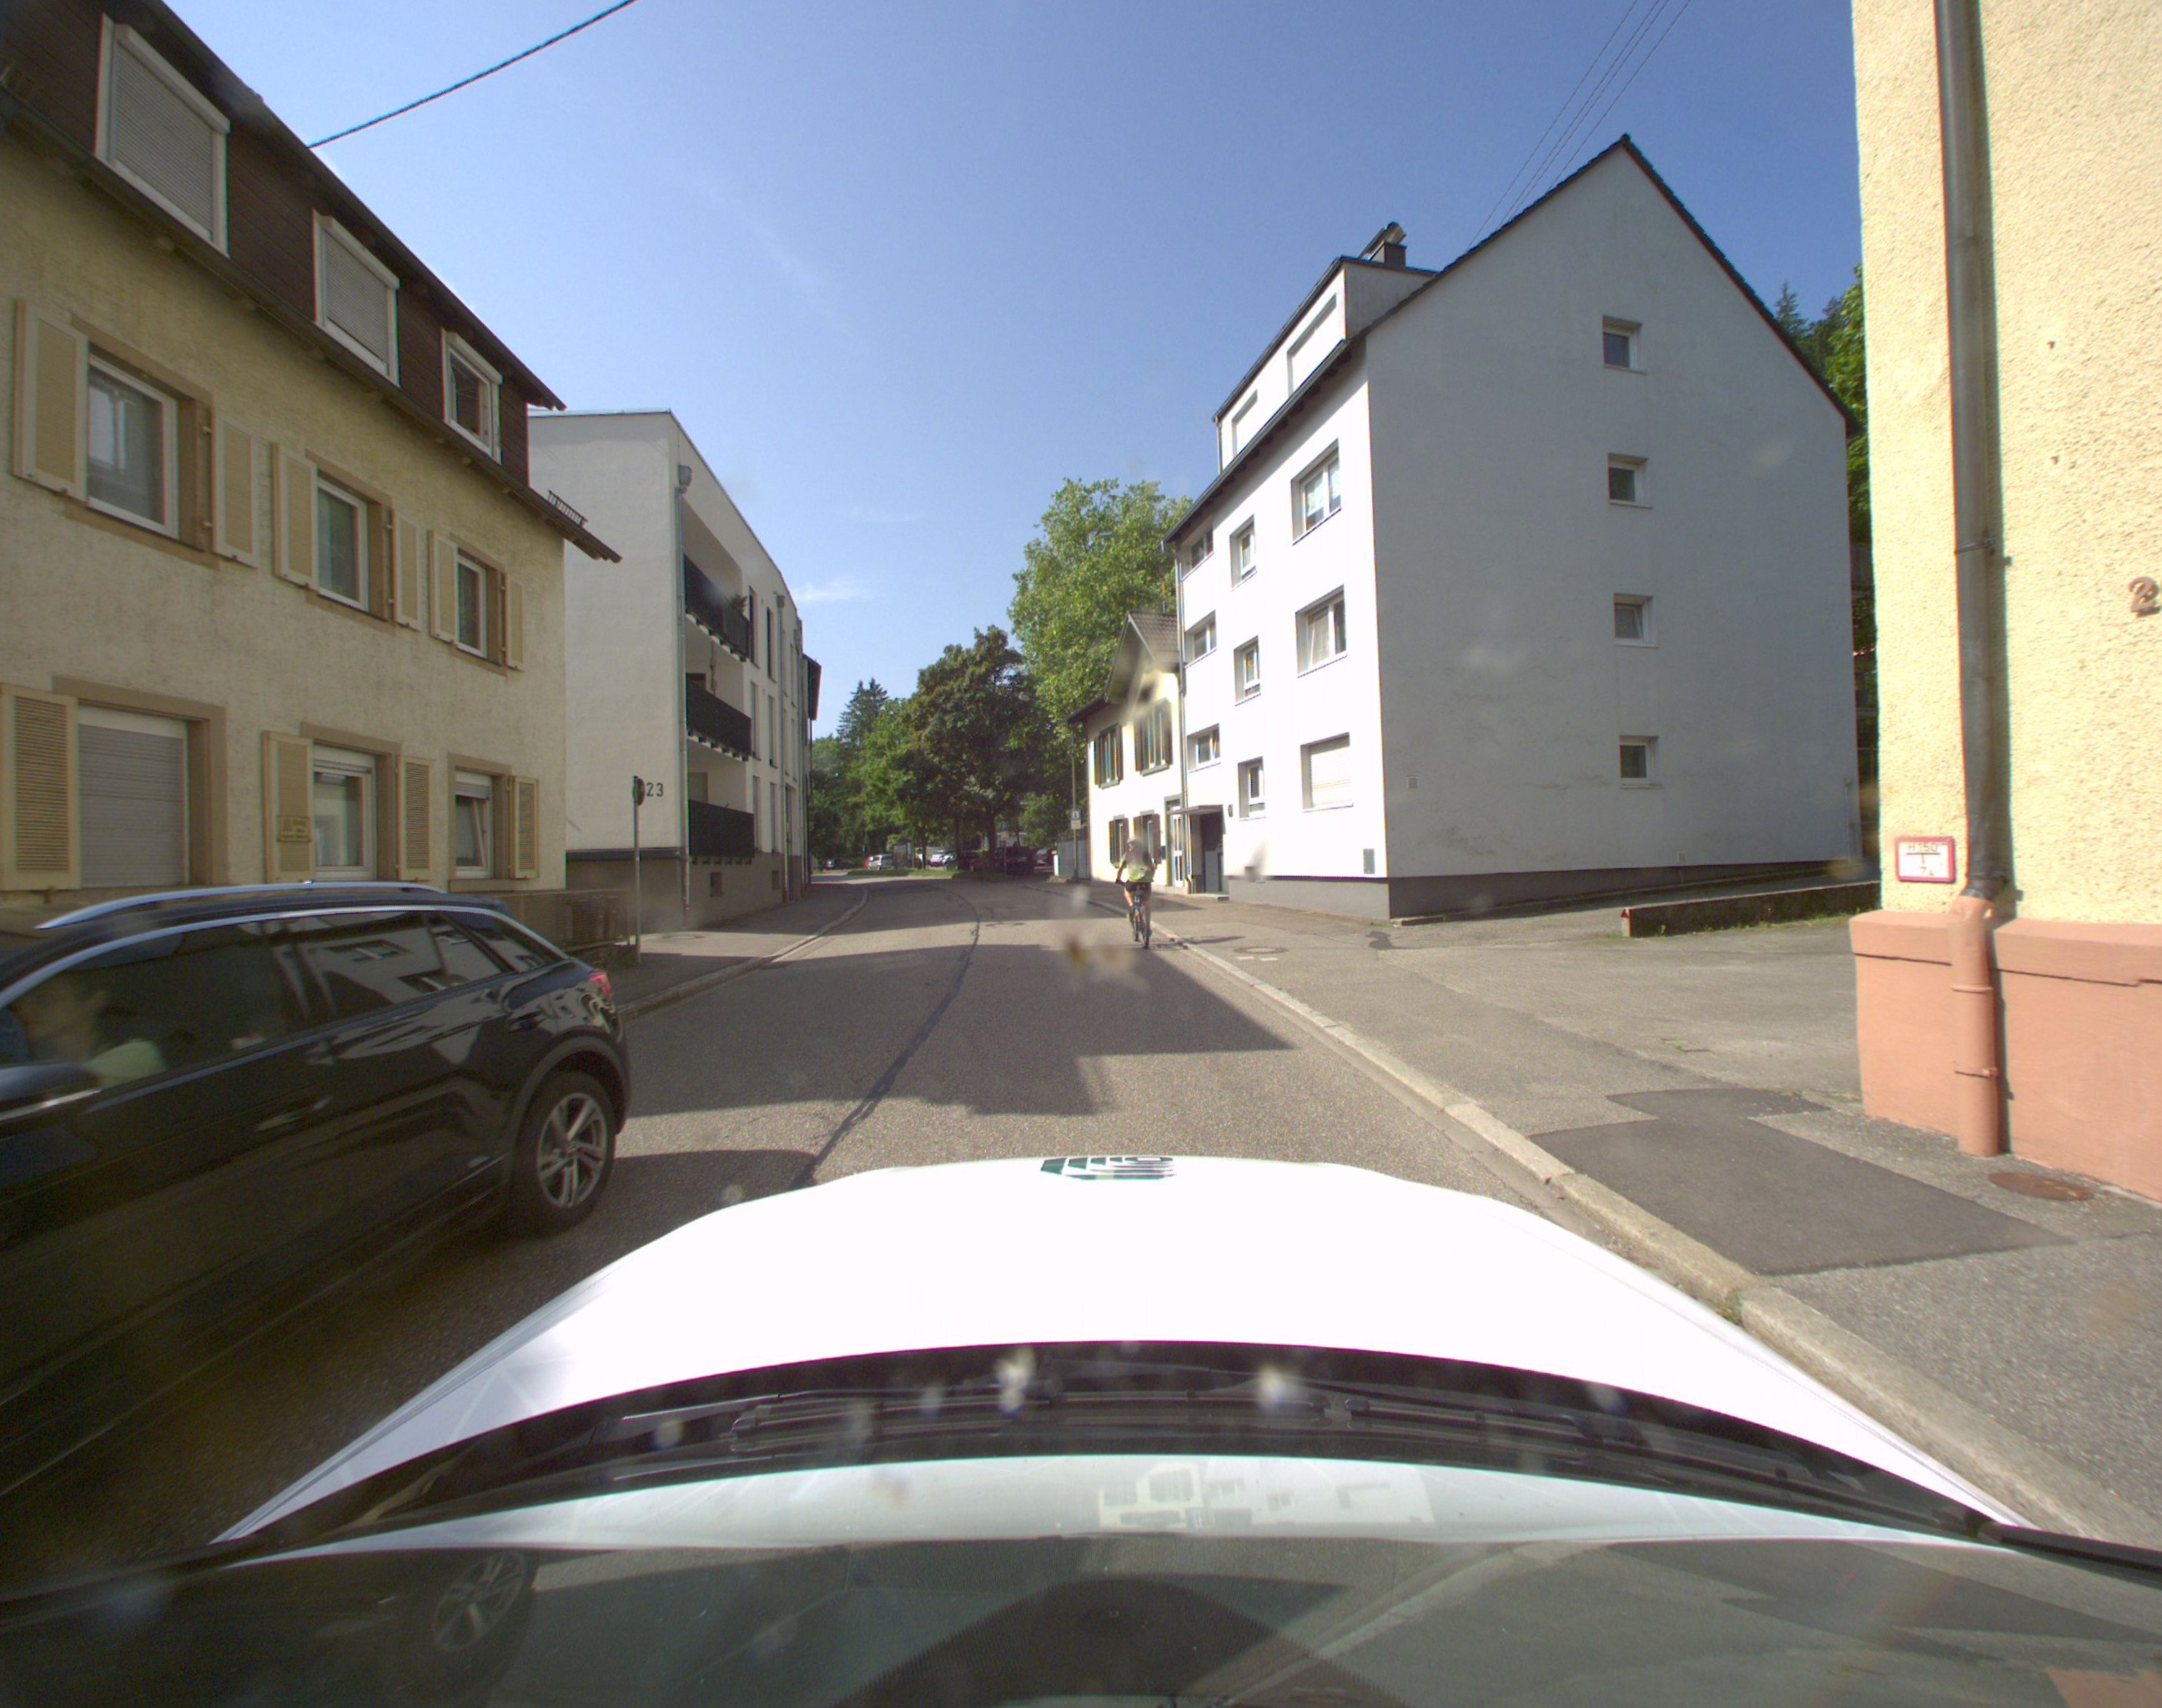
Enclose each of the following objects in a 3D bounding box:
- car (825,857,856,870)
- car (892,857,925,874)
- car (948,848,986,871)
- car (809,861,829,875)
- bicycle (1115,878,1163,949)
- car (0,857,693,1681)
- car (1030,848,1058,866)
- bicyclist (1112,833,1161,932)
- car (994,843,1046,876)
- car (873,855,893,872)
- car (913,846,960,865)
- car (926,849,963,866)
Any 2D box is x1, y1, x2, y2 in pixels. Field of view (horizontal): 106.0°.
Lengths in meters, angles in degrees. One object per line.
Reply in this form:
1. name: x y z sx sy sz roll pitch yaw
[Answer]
1. car: -31.919 1.233 107.896 3.385 1.528 1.968 -2 0 21
2. car: -15.614 1.070 73.436 1.685 1.468 3.373 -2 0 -35
3. car: -8.468 0.364 60.262 1.716 1.542 3.968 -3 2 -24
4. car: -31.152 1.634 96.861 1.644 1.528 3.455 -2 0 -27
5. bicycle: 0.912 0.928 13.189 0.696 1.035 1.471 -1 0 1
6. car: -3.019 0.874 2.271 1.818 1.537 4.000 -5 0 0
7. car: -2.895 0.252 62.788 1.583 1.257 3.842 -3 0 -11
8. bicyclist: 0.887 0.452 13.130 0.683 1.531 0.715 -3 -1 0
9. car: -3.747 0.292 49.229 1.831 1.791 3.968 -3 2 -24
10. car: -18.937 0.892 77.906 1.747 1.552 3.735 -2 0 -14
11. car: -14.919 0.157 84.316 1.974 1.855 4.731 -2 0 35
12. car: -13.450 0.311 80.507 1.794 1.552 4.021 -2 0 21
